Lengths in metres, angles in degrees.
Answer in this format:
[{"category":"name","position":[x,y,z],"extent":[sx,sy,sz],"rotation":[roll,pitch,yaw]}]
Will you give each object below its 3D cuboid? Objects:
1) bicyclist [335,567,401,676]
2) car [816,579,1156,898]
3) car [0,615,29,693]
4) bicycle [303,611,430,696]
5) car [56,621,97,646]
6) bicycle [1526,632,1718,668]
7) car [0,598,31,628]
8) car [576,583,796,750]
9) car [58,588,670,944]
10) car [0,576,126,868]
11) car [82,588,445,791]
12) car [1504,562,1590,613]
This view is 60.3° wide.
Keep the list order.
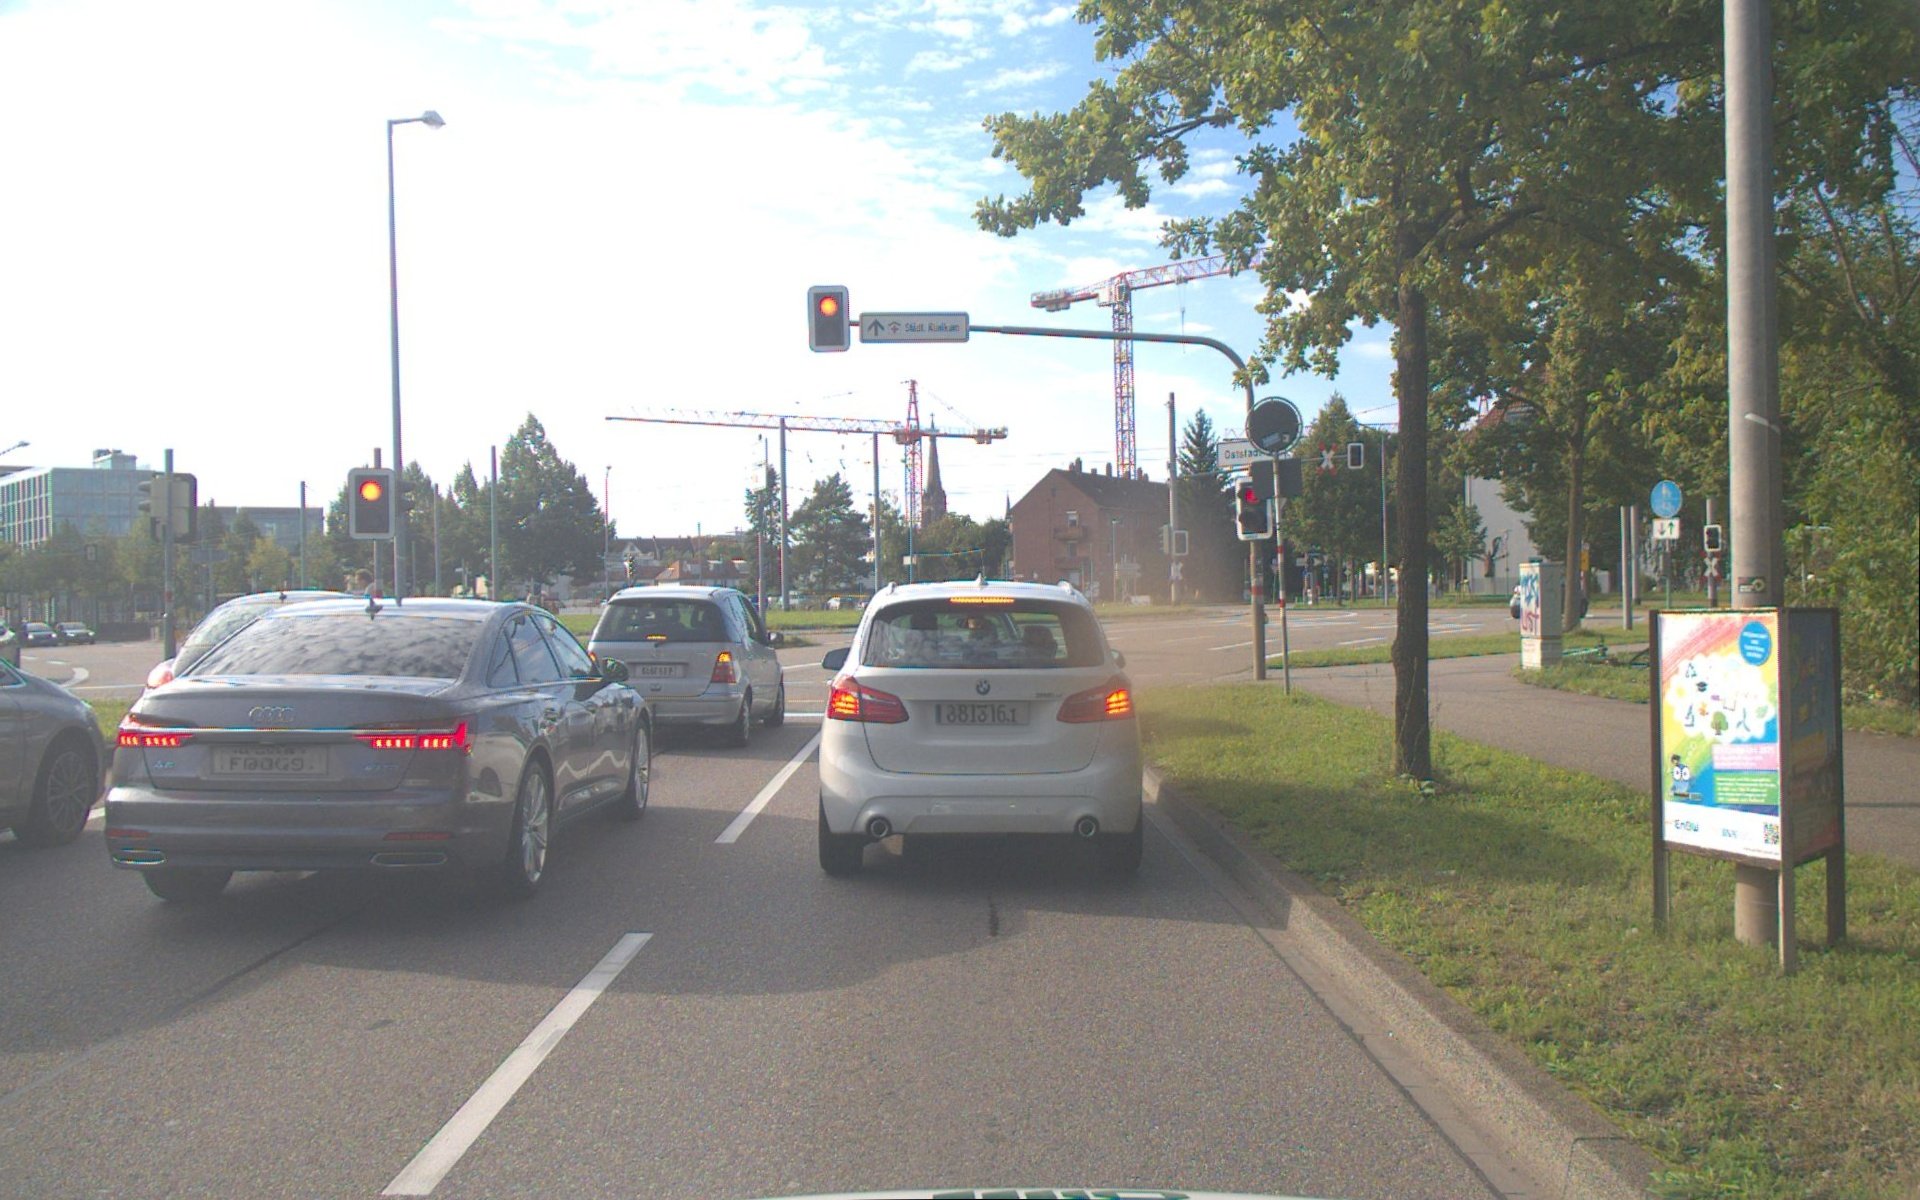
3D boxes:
[{"category":"bicyclist","position":[-8.710,0.307,24.355],"extent":[0.835,1.553,0.737],"rotation":[-2,0,-17]},{"category":"car","position":[0.096,0.678,10.269],"extent":[1.694,1.585,4.057],"rotation":[0,0,-1]},{"category":"car","position":[-19.396,1.103,32.152],"extent":[1.877,1.434,4.173],"rotation":[-3,0,-25]},{"category":"bicycle","position":[-8.718,0.772,24.349],"extent":[1.698,1.184,0.653],"rotation":[-1,0,-17]},{"category":"car","position":[-56.123,2.096,105.063],"extent":[1.605,1.490,3.677],"rotation":[-2,1,-40]},{"category":"bicycle","position":[9.440,0.706,23.747],"extent":[1.382,0.392,2.569],"rotation":[-2,0,-12]},{"category":"car","position":[-52.787,0.715,92.187],"extent":[1.574,1.439,3.636],"rotation":[-3,-1,-28]},{"category":"car","position":[-2.794,0.620,17.681],"extent":[1.694,1.585,4.057],"rotation":[0,0,-1]},{"category":"car","position":[-2.935,0.712,9.343],"extent":[1.851,1.509,4.612],"rotation":[0,0,-1]},{"category":"car","position":[-6.055,0.666,8.332],"extent":[1.694,1.586,4.018],"rotation":[0,0,-1]},{"category":"car","position":[-5.915,0.679,14.557],"extent":[1.646,1.549,3.809],"rotation":[0,0,-1]},{"category":"car","position":[19.861,-0.442,55.919],"extent":[1.549,1.601,3.176],"rotation":[0,2,45]}]
